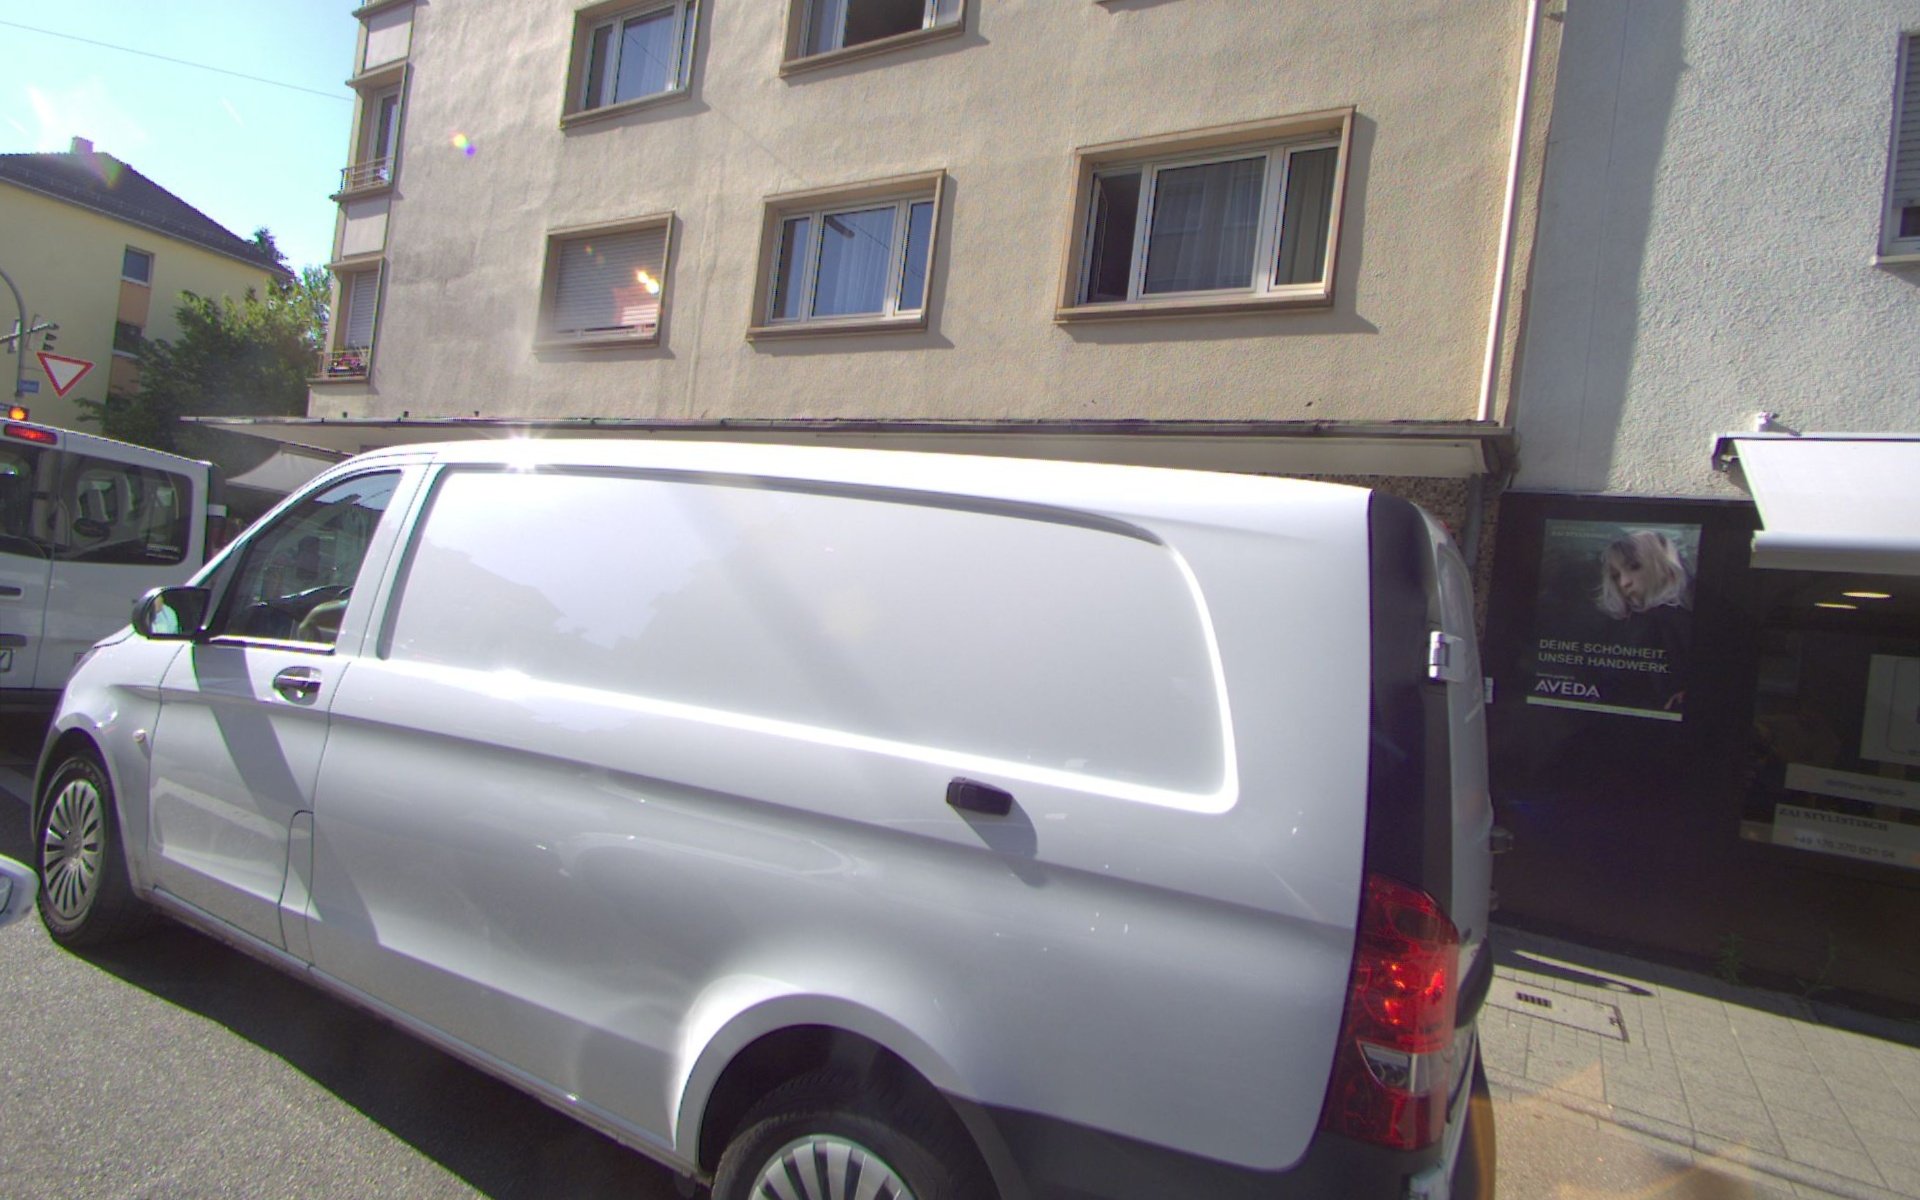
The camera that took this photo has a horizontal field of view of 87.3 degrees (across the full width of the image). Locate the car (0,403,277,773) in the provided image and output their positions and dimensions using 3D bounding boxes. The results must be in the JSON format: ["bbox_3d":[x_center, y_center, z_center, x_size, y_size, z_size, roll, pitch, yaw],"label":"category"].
[{"bbox_3d":[-7.123,-0.262,6.924,4.813,2.001,1.998,7,-2,31],"label":"car"}]

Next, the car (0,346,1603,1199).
[{"bbox_3d":[-0.981,0.448,3.293,4.911,1.891,1.840,7,-1,30],"label":"car"}]
